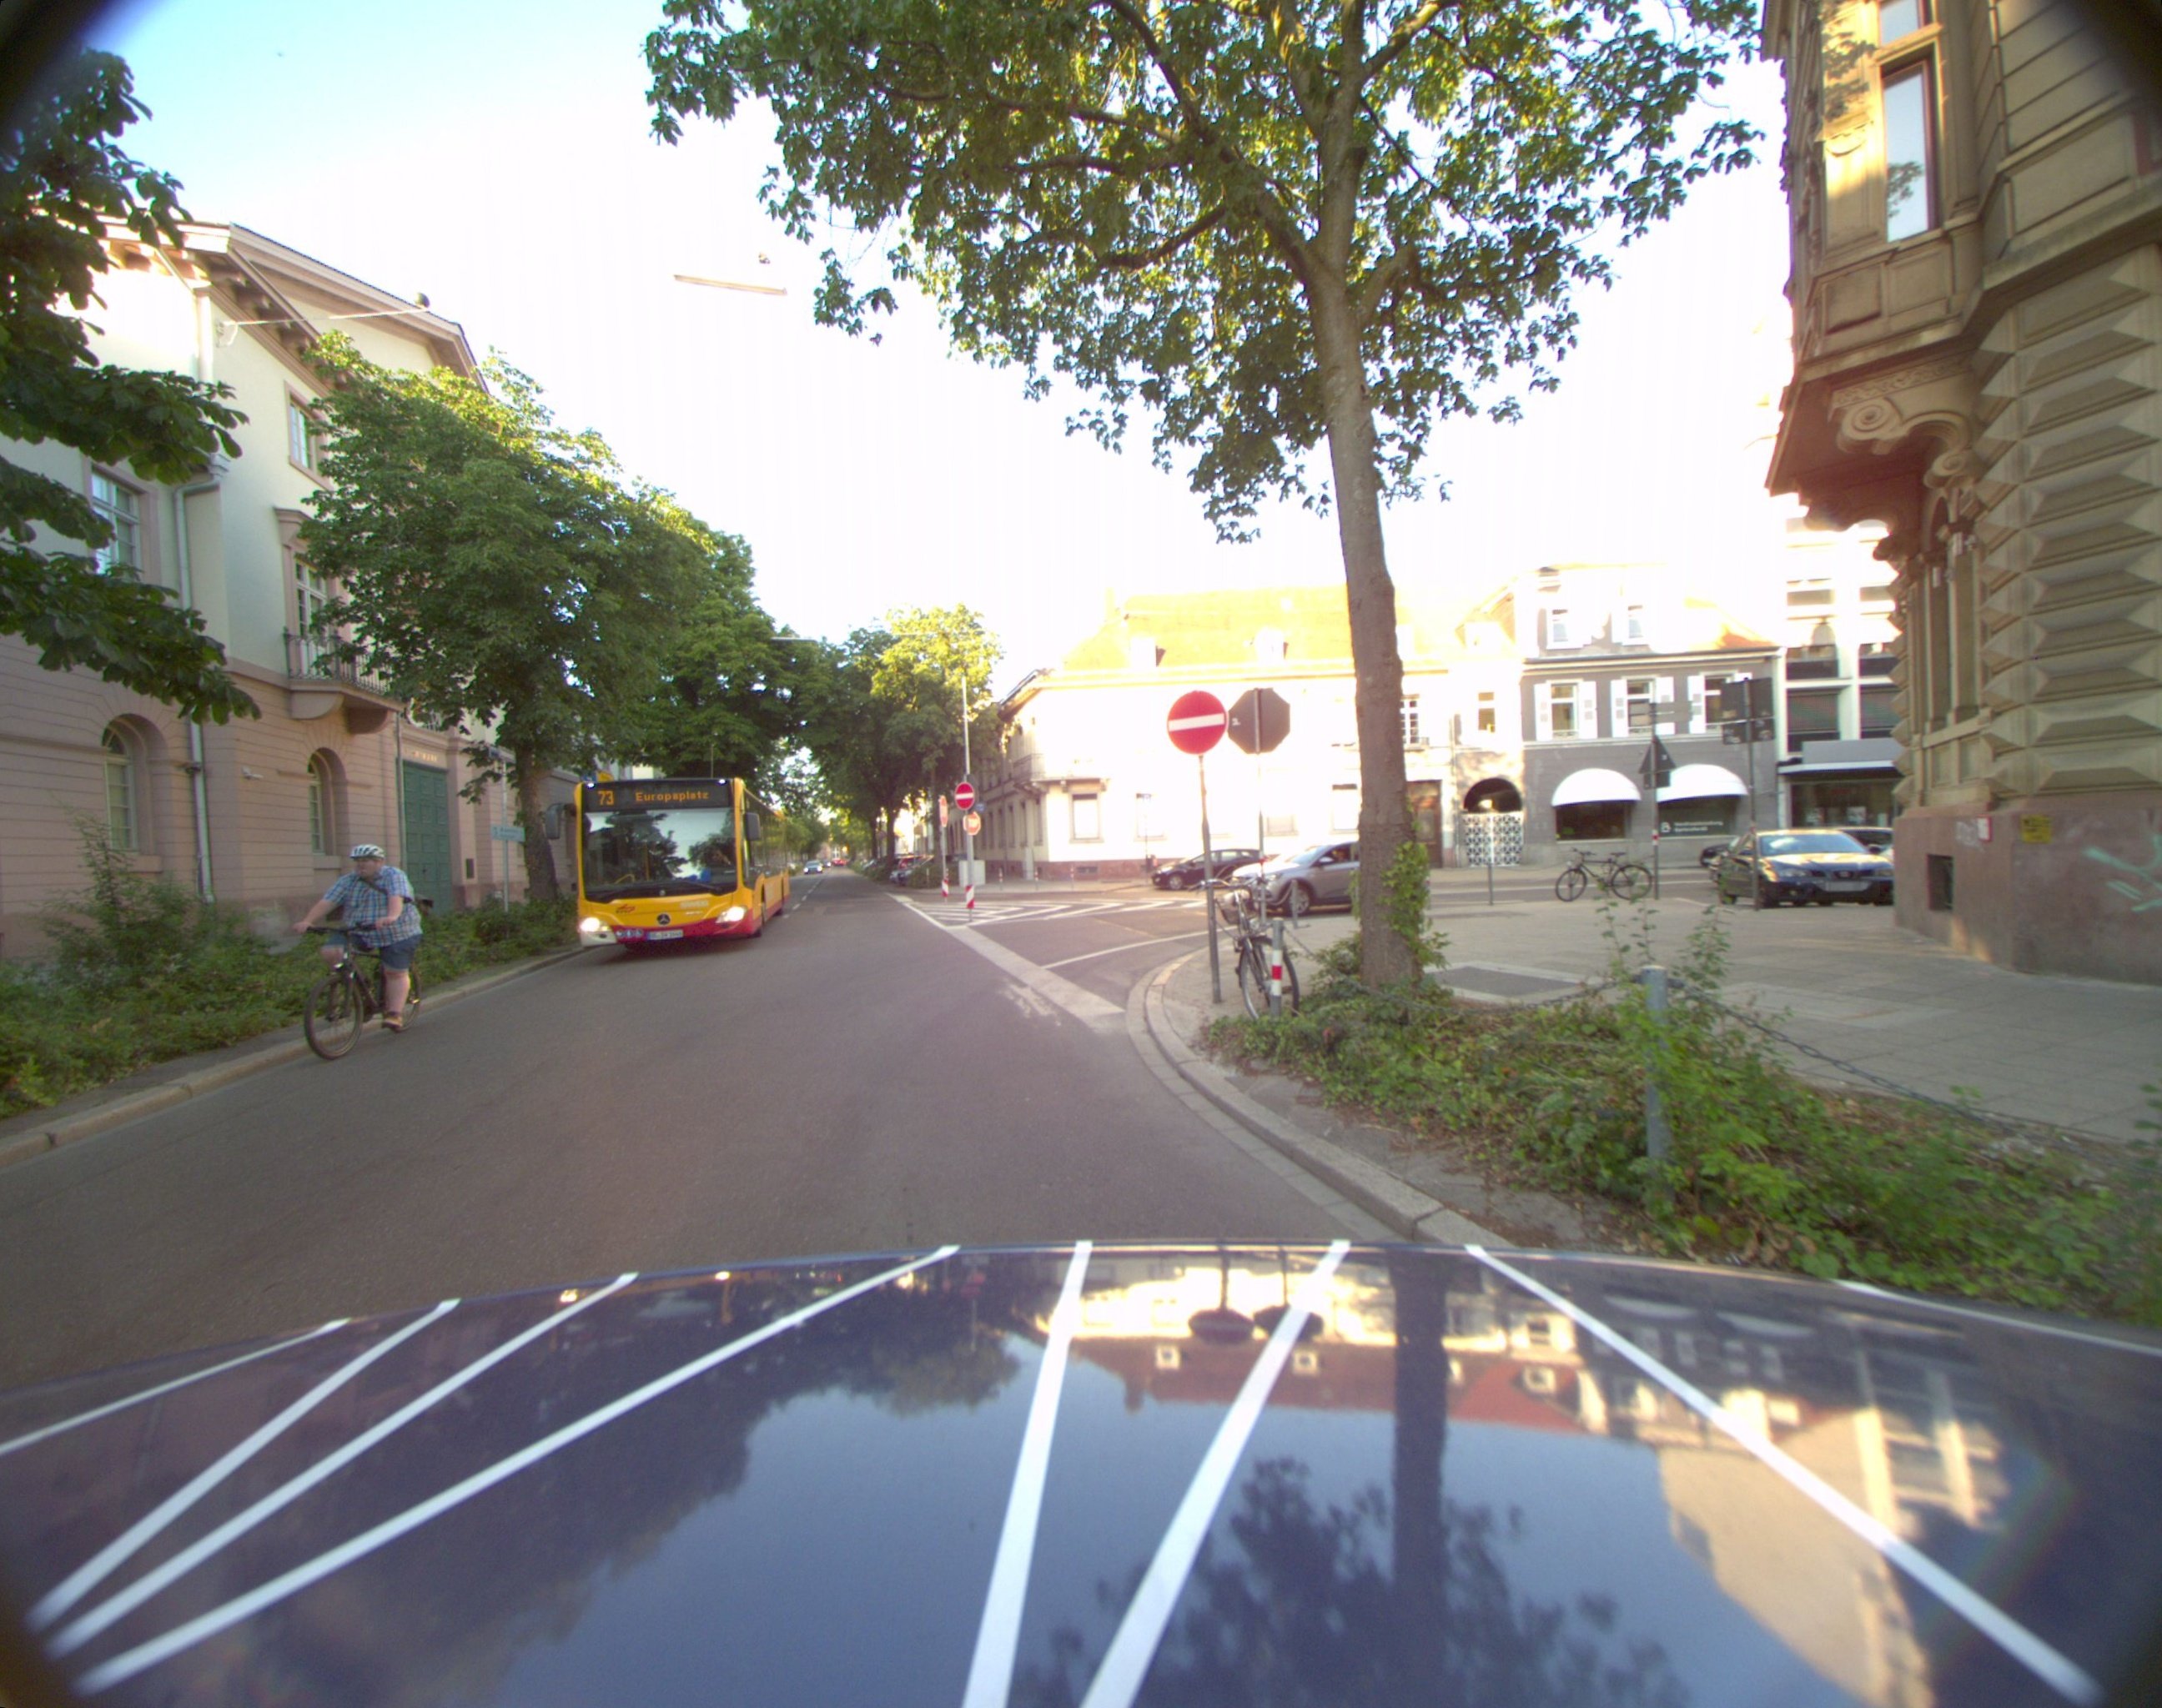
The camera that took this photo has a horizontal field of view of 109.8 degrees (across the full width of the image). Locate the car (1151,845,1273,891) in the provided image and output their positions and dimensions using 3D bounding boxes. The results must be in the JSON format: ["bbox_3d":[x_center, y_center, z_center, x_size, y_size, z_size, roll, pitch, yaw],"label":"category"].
[{"bbox_3d":[4.774,0.488,28.136,4.265,1.521,1.834,-2,1,7],"label":"car"}]

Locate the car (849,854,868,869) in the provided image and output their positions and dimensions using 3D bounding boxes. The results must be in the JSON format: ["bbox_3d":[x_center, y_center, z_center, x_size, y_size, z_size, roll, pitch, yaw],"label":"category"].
[{"bbox_3d":[-24.494,0.812,83.540,1.801,1.501,3.994,-2,1,-18],"label":"car"}]

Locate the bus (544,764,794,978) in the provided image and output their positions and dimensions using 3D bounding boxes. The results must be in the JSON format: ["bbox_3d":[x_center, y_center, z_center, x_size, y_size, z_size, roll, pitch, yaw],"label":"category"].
[{"bbox_3d":[-8.508,0.211,17.551,2.671,3.176,11.879,-4,1,-18],"label":"bus"}]

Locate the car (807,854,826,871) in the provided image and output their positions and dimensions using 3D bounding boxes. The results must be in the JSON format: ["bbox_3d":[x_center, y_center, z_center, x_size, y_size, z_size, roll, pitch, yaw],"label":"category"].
[{"bbox_3d":[-29.656,0.930,85.265,1.846,1.699,3.994,-2,1,-18],"label":"car"}]

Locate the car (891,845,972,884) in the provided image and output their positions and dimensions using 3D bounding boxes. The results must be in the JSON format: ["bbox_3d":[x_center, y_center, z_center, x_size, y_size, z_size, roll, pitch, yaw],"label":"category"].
[{"bbox_3d":[-8.307,0.561,42.172,4.005,1.940,1.996,-2,1,-25],"label":"car"}]

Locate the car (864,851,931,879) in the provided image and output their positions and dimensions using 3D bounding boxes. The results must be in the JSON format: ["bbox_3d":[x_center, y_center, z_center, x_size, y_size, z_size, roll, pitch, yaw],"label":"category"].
[{"bbox_3d":[-12.333,0.732,51.179,4.005,1.699,1.996,-2,1,-25],"label":"car"}]

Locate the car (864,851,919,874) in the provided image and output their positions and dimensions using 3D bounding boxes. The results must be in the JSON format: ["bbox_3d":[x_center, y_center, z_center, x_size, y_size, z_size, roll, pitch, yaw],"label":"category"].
[{"bbox_3d":[-15.419,0.687,61.902,4.005,1.699,1.841,-2,1,-25],"label":"car"}]

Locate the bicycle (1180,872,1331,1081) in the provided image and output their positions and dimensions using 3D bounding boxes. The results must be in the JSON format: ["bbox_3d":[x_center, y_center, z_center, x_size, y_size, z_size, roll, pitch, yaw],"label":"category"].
[{"bbox_3d":[1.258,0.809,6.016,0.806,1.217,2.419,-6,-1,7],"label":"bicycle"}]

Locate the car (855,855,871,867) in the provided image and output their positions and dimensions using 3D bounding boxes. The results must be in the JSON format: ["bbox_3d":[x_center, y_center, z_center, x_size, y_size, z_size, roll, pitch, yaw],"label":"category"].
[{"bbox_3d":[-29.119,0.956,101.475,1.801,1.501,3.994,-2,1,-18],"label":"car"}]

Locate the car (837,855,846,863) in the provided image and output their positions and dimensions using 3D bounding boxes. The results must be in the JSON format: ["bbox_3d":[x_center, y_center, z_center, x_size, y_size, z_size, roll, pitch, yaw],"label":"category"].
[{"bbox_3d":[-52.510,1.045,166.573,1.846,1.699,4.151,-2,1,-18],"label":"car"}]

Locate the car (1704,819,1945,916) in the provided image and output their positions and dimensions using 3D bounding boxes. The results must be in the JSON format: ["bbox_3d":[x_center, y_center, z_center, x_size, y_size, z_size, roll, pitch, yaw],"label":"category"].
[{"bbox_3d":[12.822,0.282,13.488,1.885,1.421,4.369,-2,-2,28],"label":"car"}]

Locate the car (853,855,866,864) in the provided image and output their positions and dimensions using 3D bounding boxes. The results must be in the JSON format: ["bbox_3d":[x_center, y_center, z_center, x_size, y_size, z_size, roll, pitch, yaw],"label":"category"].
[{"bbox_3d":[-37.058,0.884,127.067,1.801,1.501,3.994,-2,1,-18],"label":"car"}]

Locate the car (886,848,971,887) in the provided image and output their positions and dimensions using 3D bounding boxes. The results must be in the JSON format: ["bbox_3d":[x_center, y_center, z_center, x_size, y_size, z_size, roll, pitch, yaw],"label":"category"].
[{"bbox_3d":[-7.960,0.682,39.688,4.005,1.801,1.796,-2,1,-25],"label":"car"}]

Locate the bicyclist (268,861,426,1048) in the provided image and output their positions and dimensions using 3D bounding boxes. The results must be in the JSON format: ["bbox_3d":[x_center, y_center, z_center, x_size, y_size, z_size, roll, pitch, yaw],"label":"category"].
[{"bbox_3d":[-6.666,0.863,6.955,0.638,1.552,0.817,-5,1,-19],"label":"bicyclist"}]

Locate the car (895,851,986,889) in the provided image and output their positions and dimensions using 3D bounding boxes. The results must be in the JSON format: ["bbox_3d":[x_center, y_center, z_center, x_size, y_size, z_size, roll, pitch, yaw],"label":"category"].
[{"bbox_3d":[-6.875,0.746,37.197,4.005,1.660,1.796,-2,1,-25],"label":"car"}]

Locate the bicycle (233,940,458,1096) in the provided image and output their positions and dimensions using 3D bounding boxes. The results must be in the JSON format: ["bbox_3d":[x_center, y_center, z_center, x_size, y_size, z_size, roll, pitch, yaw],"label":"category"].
[{"bbox_3d":[-6.630,1.407,7.007,0.638,0.977,1.978,-5,1,-19],"label":"bicycle"}]

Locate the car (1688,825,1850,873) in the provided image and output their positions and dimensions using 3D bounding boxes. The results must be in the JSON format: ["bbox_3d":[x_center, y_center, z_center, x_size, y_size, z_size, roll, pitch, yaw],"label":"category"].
[{"bbox_3d":[23.920,-0.178,26.560,3.811,1.482,1.834,-2,1,8],"label":"car"}]

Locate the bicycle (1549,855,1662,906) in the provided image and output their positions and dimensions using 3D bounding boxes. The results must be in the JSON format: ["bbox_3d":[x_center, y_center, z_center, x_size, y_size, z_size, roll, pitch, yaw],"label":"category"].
[{"bbox_3d":[10.489,0.547,15.251,1.760,0.965,0.539,-2,-2,22],"label":"bicycle"}]

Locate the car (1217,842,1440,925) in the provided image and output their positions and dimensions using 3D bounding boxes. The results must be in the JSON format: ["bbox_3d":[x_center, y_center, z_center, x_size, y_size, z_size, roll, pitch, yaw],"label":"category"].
[{"bbox_3d":[5.462,0.573,16.895,4.362,1.561,1.945,-2,2,-16],"label":"car"}]
